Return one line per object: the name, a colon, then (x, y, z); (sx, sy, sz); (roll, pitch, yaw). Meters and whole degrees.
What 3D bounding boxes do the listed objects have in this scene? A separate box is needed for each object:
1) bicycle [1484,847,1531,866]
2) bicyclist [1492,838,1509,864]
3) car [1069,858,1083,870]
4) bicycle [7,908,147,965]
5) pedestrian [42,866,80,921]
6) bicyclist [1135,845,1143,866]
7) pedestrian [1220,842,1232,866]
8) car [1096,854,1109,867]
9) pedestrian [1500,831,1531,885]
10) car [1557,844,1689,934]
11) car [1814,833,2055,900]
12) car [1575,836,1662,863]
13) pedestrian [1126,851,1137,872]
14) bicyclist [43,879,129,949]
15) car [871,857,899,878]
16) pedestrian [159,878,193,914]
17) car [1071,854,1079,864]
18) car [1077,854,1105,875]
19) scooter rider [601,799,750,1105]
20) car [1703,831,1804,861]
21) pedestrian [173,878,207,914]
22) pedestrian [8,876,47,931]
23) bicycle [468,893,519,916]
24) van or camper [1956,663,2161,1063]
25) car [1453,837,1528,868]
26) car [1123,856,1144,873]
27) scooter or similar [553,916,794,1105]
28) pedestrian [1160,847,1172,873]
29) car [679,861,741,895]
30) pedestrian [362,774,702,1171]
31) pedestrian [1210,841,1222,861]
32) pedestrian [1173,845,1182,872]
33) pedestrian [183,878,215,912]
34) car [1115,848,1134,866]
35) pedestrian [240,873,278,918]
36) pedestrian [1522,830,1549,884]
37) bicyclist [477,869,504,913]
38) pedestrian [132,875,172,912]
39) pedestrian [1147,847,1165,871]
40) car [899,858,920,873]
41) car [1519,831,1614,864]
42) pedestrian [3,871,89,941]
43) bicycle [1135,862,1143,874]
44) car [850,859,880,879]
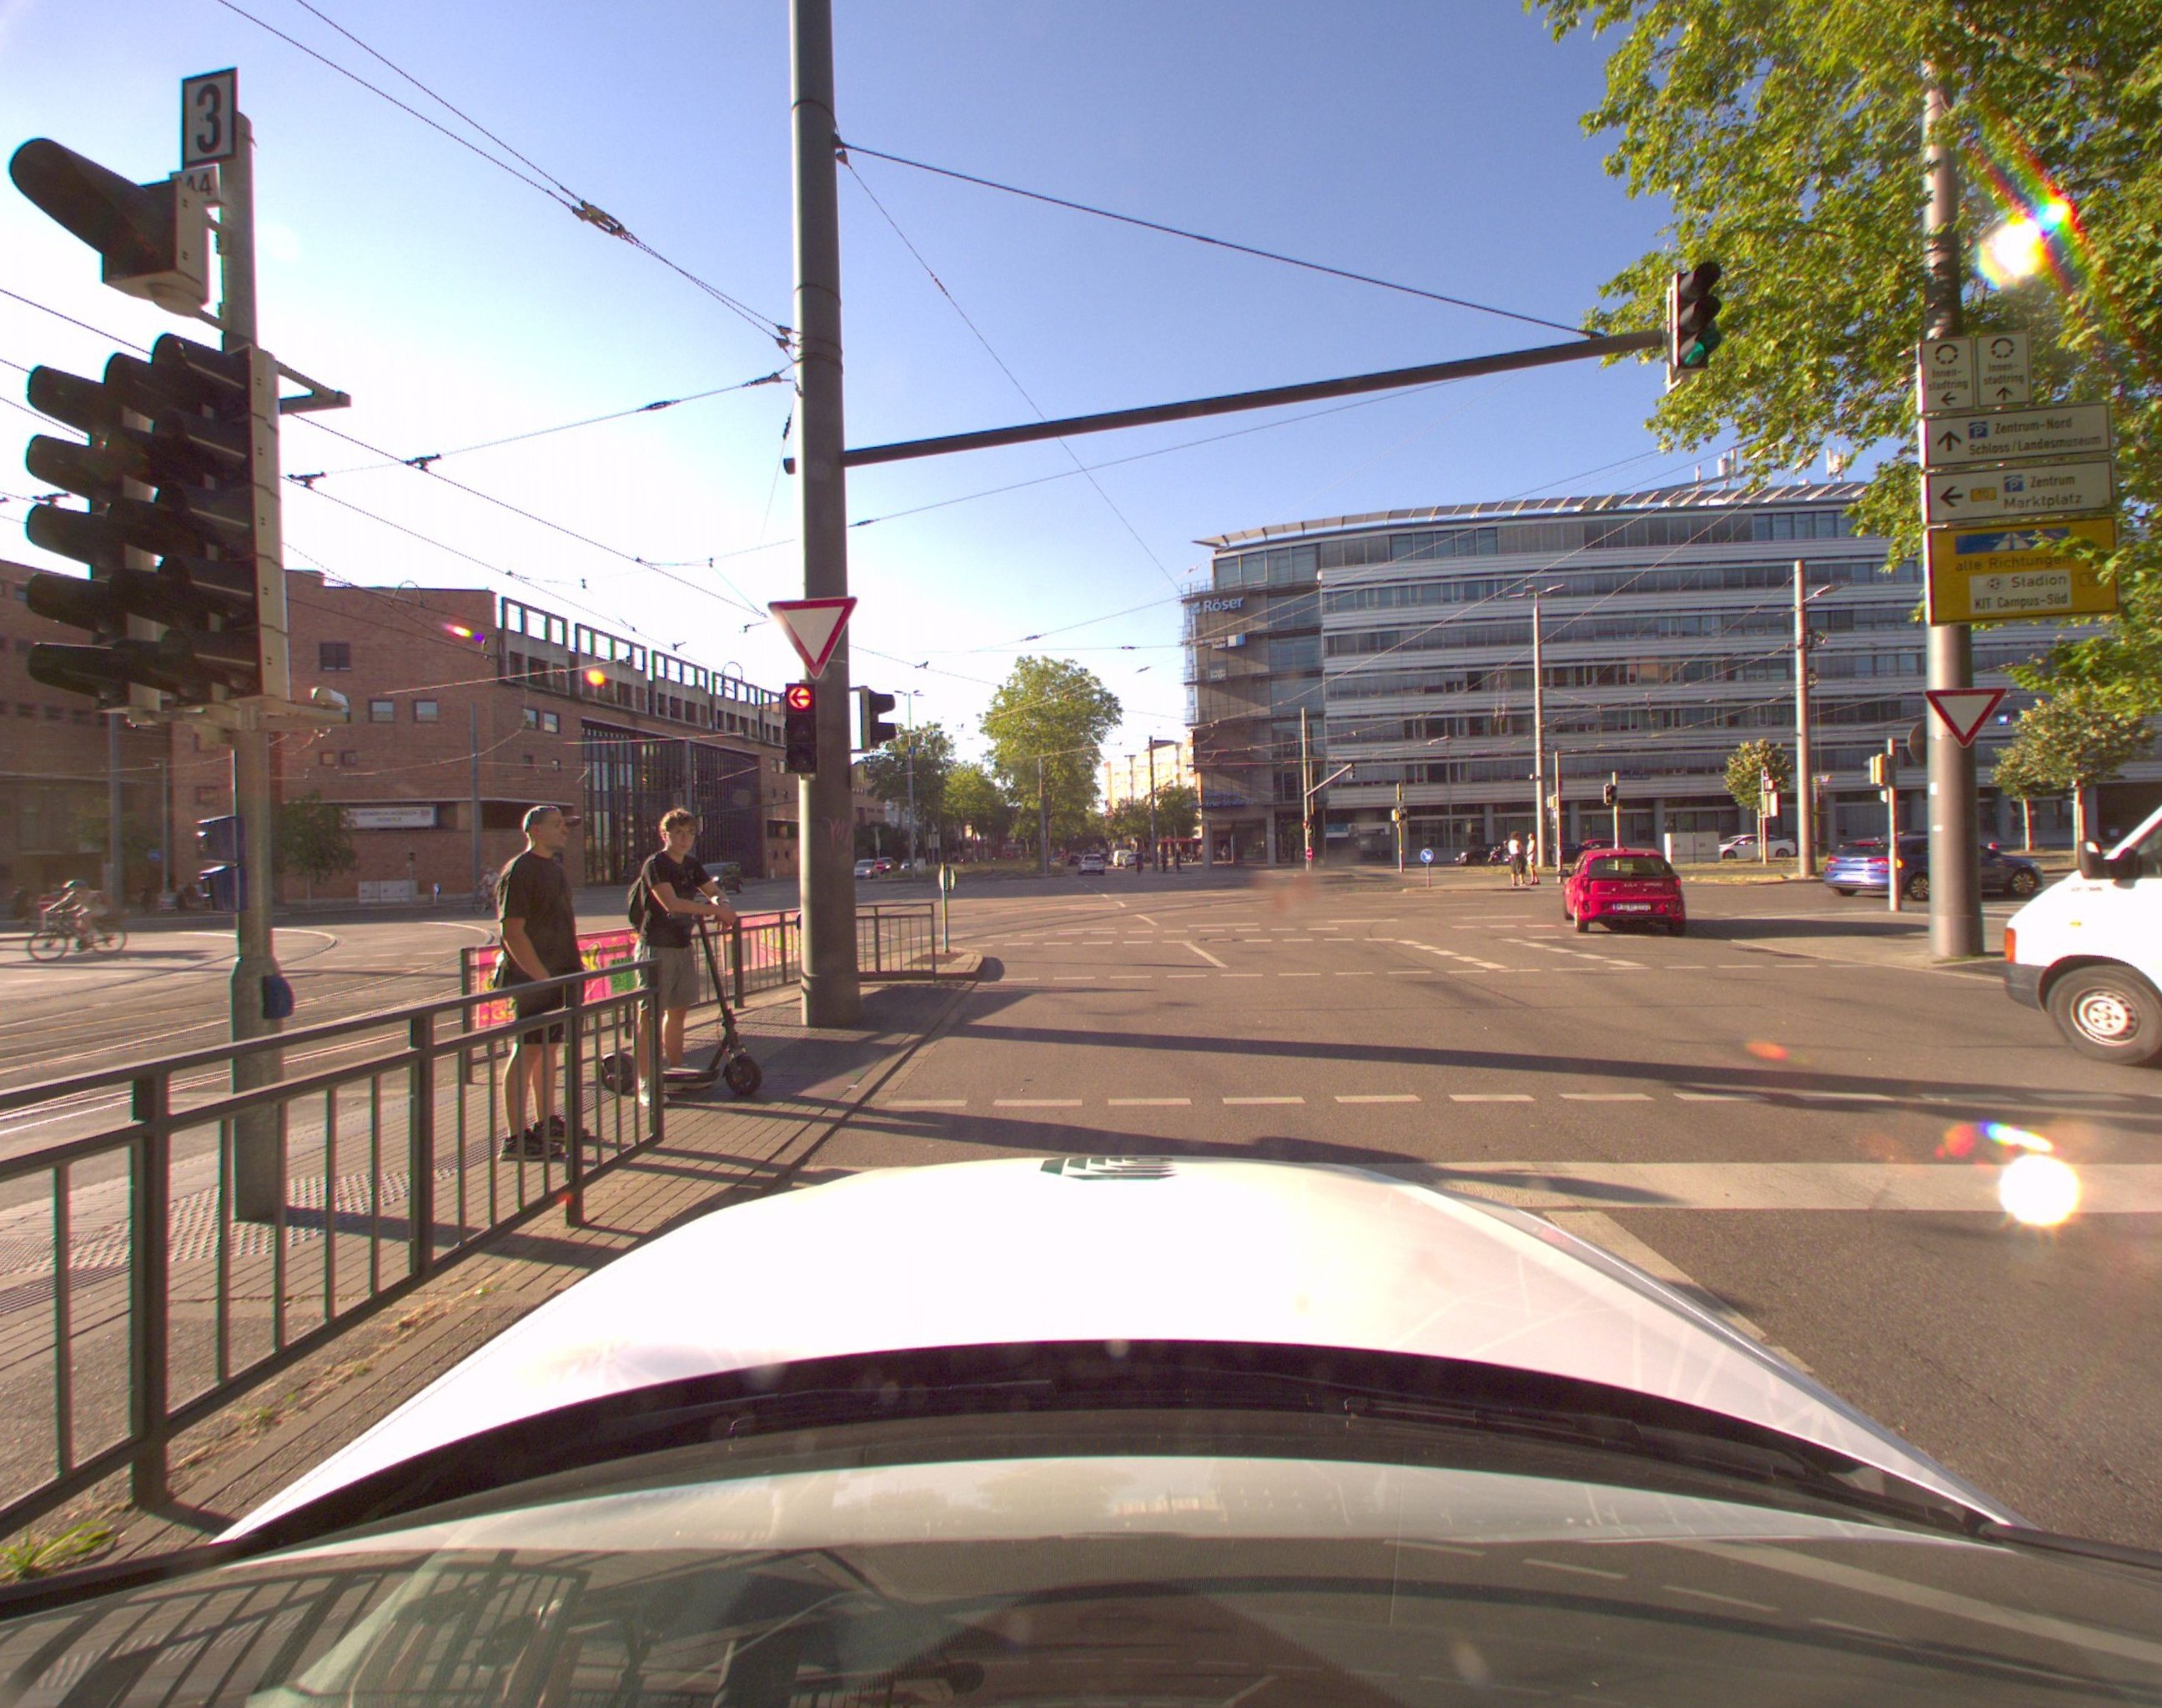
bicycle: (25.651, 0.133, 49.005); (2.397, 1.022, 0.638); (-2, 0, 6)
bicyclist: (25.257, -0.191, 49.056); (0.660, 1.503, 0.614); (-2, 0, 7)
car: (-0.645, 1.289, 106.031); (1.759, 1.404, 4.293); (-1, 0, -2)
bicycle: (-22.123, 1.792, 18.017); (0.650, 1.050, 2.010); (-1, 0, -3)
pedestrian: (-38.771, 1.492, 30.959); (0.615, 2.013, 0.726); (-2, 0, -28)
bicyclist: (3.982, 0.071, 55.952); (0.485, 1.439, 0.616); (0, 0, 1)
pedestrian: (11.951, 0.007, 67.260); (0.866, 2.014, 0.794); (0, -2, 1)
car: (3.380, 0.993, 127.005); (1.986, 2.014, 4.001); (0, -1, 2)
pedestrian: (14.373, 0.136, 26.965); (0.672, 1.759, 0.744); (-2, 0, 13)
car: (9.996, 0.570, 15.257); (1.477, 1.459, 3.617); (-1, 0, 24)
car: (20.216, 0.268, 19.385); (4.192, 1.459, 1.750); (-1, 0, -6)
car: (32.043, -0.265, 48.623); (3.966, 1.552, 1.800); (0, -1, 6)
pedestrian: (4.210, 0.615, 68.168); (0.866, 1.707, 0.794); (0, -1, 1)
bicyclist: (-22.153, 1.318, 18.162); (0.652, 1.474, 1.031); (-1, -1, -3)
car: (-18.102, 1.208, 75.431); (1.819, 1.790, 3.994); (-2, 0, -4)
pedestrian: (-53.909, 2.502, 48.538); (1.003, 2.052, 0.850); (-2, 0, -1)
car: (-1.553, 1.447, 220.906); (1.985, 2.015, 4.000); (0, -9, 3)
car: (0.741, 0.719, 58.224); (1.740, 1.418, 4.004); (-1, 0, 4)
scooter rider: (-2.626, 0.607, 5.323); (0.563, 1.853, 0.681); (-2, -2, 6)
car: (37.319, -0.445, 45.282); (3.968, 1.596, 1.884); (0, -1, 5)
pedestrian: (-52.756, 2.470, 48.214); (1.003, 2.052, 0.850); (-2, 0, -1)
pedestrian: (-39.453, 1.841, 30.501); (0.615, 2.013, 0.726); (-2, 0, -28)
bicycle: (-22.820, 1.947, 31.654); (0.588, 0.771, 1.966); (-2, 0, -2)
van or camper: (8.027, 0.032, 3.295); (1.993, 2.614, 6.499); (-2, 0, 1)
car: (27.086, -0.100, 53.933); (3.972, 2.014, 2.001); (0, -1, 2)
car: (5.320, 1.068, 83.015); (2.022, 1.596, 4.001); (0, -1, 2)
scooter or similar: (-2.612, 0.988, 5.299); (1.196, 1.081, 0.649); (-2, 0, 5)
pedestrian: (6.681, 0.483, 64.154); (0.847, 2.014, 0.707); (0, -1, -2)
car: (-20.276, 1.264, 44.689); (1.865, 1.762, 3.992); (0, 0, -5)
pedestrian: (-2.851, 0.581, 4.344); (1.161, 1.884, 0.856); (-2, 0, 6)
pedestrian: (15.655, -0.343, 94.580); (1.305, 2.190, 1.173); (0, -1, 8)
pedestrian: (7.435, 0.351, 62.775); (0.584, 2.014, 0.620); (0, -1, 2)
pedestrian: (-53.972, 2.505, 49.847); (1.003, 2.052, 0.850); (-2, 0, -1)
car: (4.749, 0.342, 89.679); (1.986, 2.014, 4.001); (0, -1, 2)
pedestrian: (-35.479, 1.771, 35.167); (0.721, 1.902, 0.875); (0, -1, -1)
pedestrian: (15.194, 0.098, 27.250); (0.732, 1.759, 0.690); (-2, 0, 28)
bicyclist: (-22.839, 1.424, 31.505); (0.585, 1.625, 0.514); (-2, 0, -2)
pedestrian: (-53.451, 2.258, 46.876); (1.155, 2.013, 0.910); (-2, 0, -2)
pedestrian: (6.125, 0.417, 66.169); (1.337, 1.950, 1.011); (-2, -1, 1)
car: (-18.596, 1.249, 88.495); (1.673, 1.607, 3.994); (0, -1, -4)
car: (27.526, -0.364, 46.266); (4.234, 1.723, 1.886); (-2, 0, 4)
pedestrian: (-31.155, 1.537, 24.543); (1.029, 2.014, 1.208); (0, -1, 1)
bicycle: (3.989, 0.972, 55.935); (0.489, 0.788, 1.862); (-1, 0, 2)
car: (-17.950, 1.248, 67.895); (1.618, 1.577, 3.994); (-2, 0, -4)
